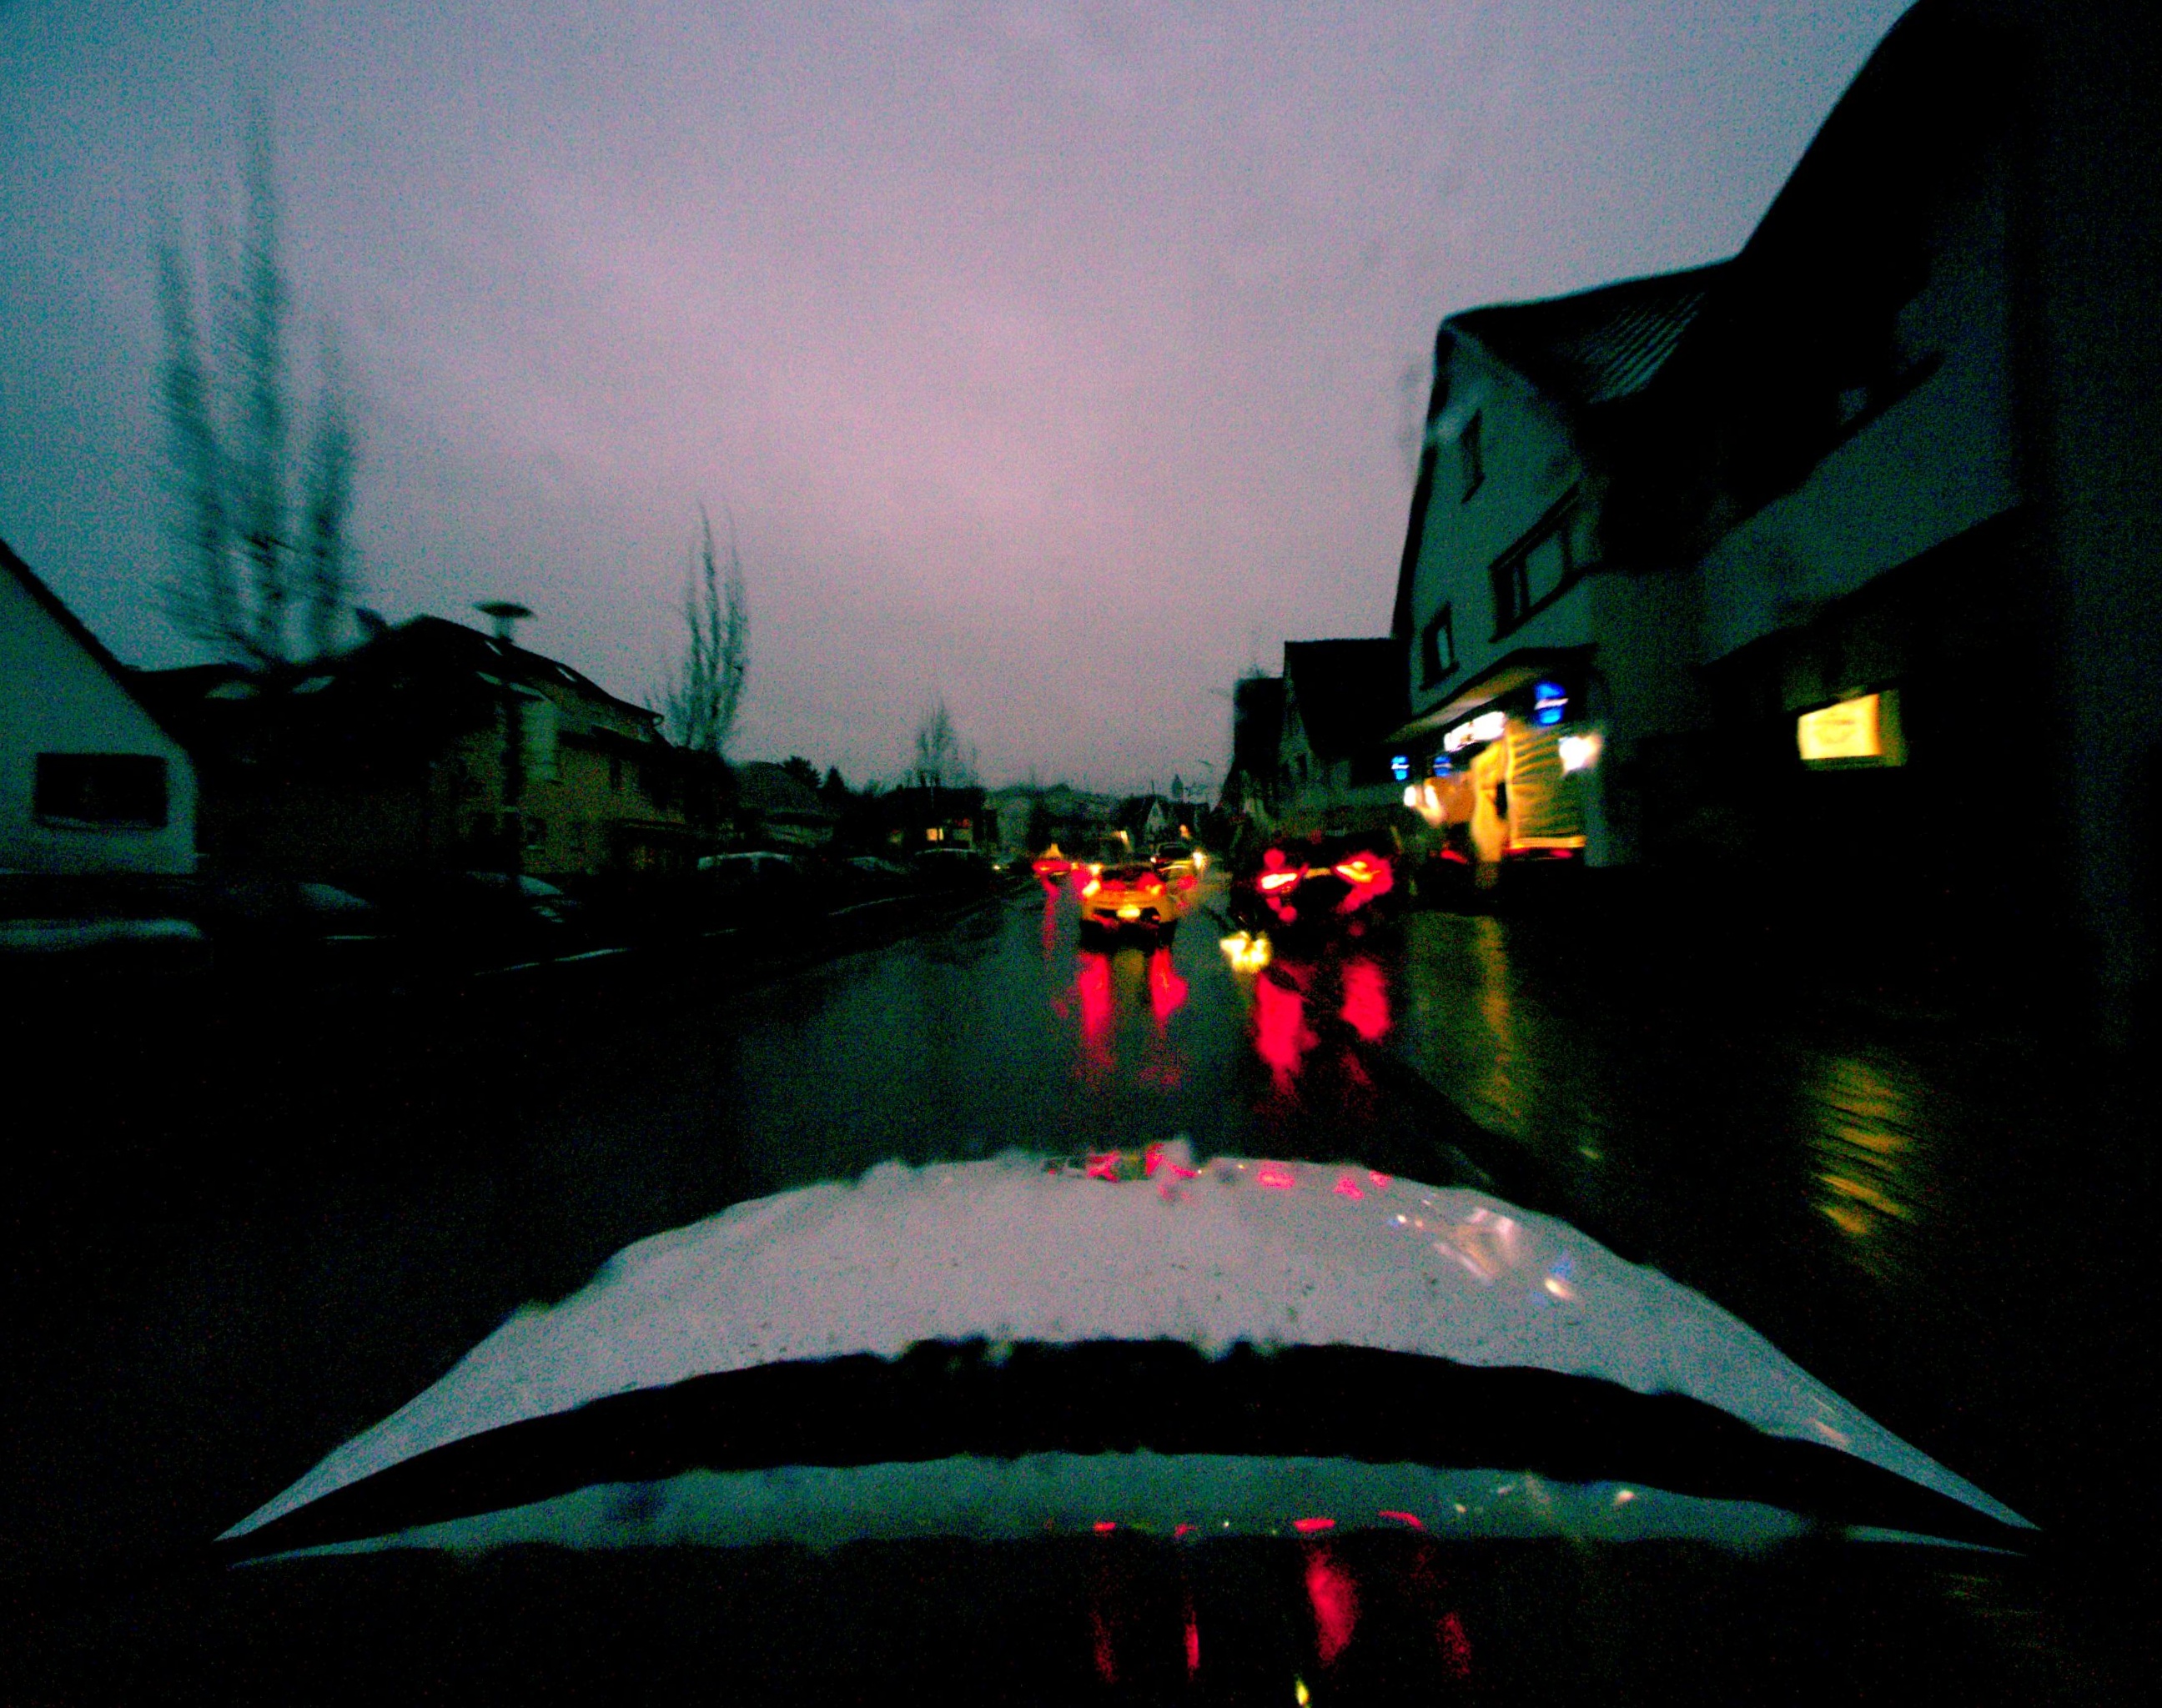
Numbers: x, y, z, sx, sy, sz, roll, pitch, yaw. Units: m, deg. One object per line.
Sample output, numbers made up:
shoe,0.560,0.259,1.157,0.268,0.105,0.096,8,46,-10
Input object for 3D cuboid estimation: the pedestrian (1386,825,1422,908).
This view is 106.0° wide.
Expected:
pedestrian,6.805,0.276,17.184,0.613,1.727,0.503,-1,-3,15

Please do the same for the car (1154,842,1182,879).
car,6.294,0.519,59.125,1.861,2.469,4.448,0,-3,5

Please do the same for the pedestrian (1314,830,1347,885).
pedestrian,7.031,0.097,22.987,0.618,1.515,0.731,-2,1,-10

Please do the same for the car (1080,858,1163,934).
car,0.853,0.802,16.858,1.556,1.412,3.020,0,0,3

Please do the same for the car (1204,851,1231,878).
car,11.890,0.946,71.306,1.984,2.249,4.004,0,-3,5

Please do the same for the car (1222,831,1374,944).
car,3.735,0.541,14.789,1.728,1.692,4.389,-2,-1,3

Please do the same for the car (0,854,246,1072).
car,-9.300,0.804,6.557,3.770,1.523,1.719,-1,-1,9

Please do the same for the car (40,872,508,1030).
car,-9.131,1.053,9.385,4.072,1.608,1.590,-1,-1,6

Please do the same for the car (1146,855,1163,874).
car,8.528,1.219,94.999,1.984,2.112,4.004,0,-3,4

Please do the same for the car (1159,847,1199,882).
car,5.580,0.593,46.774,1.989,1.865,4.087,-1,-1,4

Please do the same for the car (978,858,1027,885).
car,-6.856,1.538,71.023,2.011,2.252,4.332,2,-4,-43

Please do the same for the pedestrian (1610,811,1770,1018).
pedestrian,5.154,0.471,6.938,0.618,1.626,0.903,-2,1,-10

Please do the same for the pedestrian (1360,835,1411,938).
pedestrian,5.219,0.544,13.991,0.570,1.699,0.654,-4,-1,4

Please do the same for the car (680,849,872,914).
car,-8.483,0.753,22.956,4.609,1.667,2.000,-1,-1,0

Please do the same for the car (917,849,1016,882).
car,-6.539,0.640,46.465,5.355,1.817,1.719,0,-1,16

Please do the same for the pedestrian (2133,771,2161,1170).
pedestrian,4.495,0.476,2.816,0.476,1.630,1.023,-3,0,15

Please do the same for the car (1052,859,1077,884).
car,-1.379,1.556,69.927,1.912,2.028,3.975,0,-3,1

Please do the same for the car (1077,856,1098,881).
car,0.635,1.425,77.676,1.912,2.216,3.975,0,-3,1

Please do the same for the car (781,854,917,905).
car,-7.981,0.881,28.158,4.144,1.644,1.662,-1,-1,7

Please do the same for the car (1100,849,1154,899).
car,1.676,0.658,28.719,1.758,1.628,3.591,0,0,5

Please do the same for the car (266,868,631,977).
car,-9.370,0.991,12.290,4.107,1.498,1.881,0,-3,5
